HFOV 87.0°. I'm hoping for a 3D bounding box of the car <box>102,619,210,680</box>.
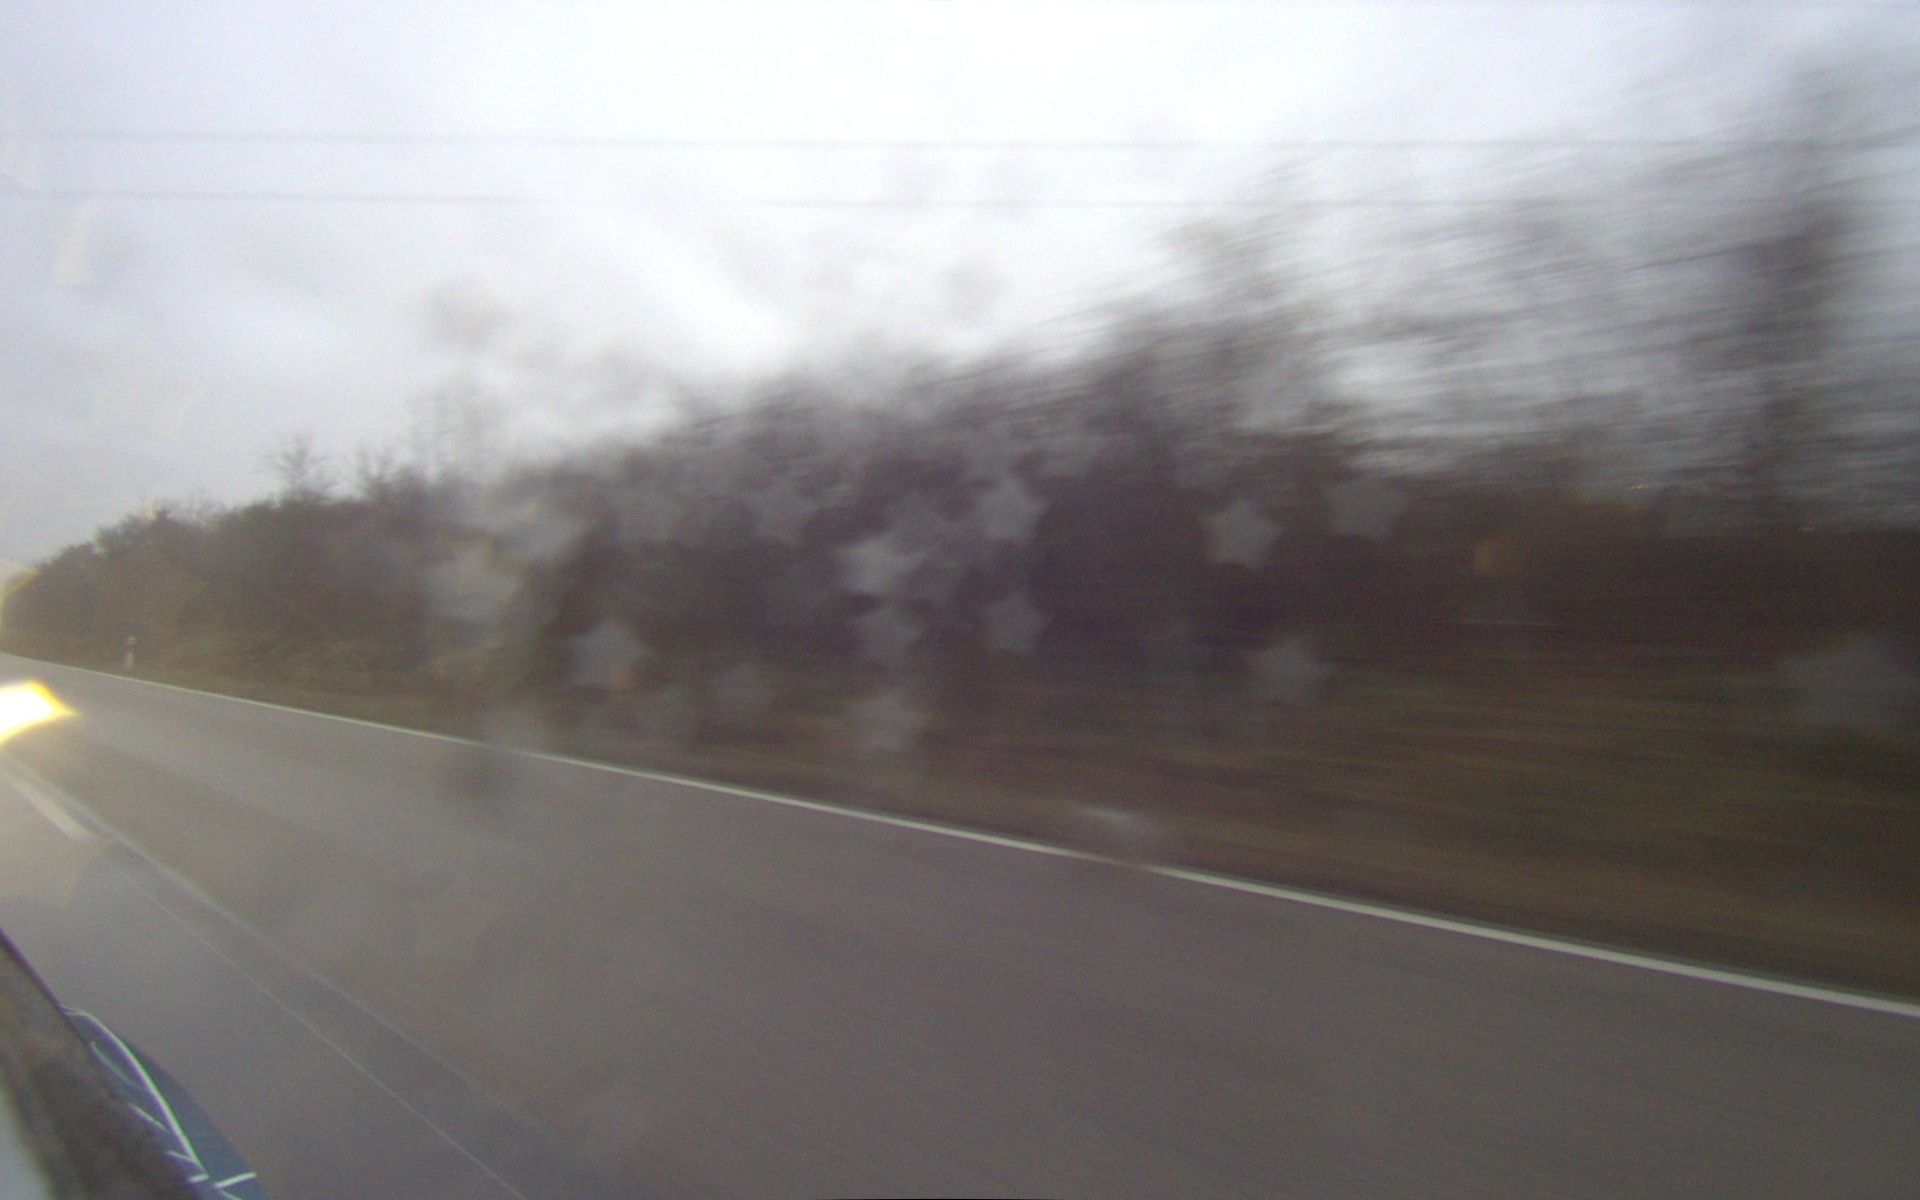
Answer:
[{"bbox_3d":[-22.966,1.358,28.870,3.772,1.621,1.757,-1,-2,42],"label":"car"}]
